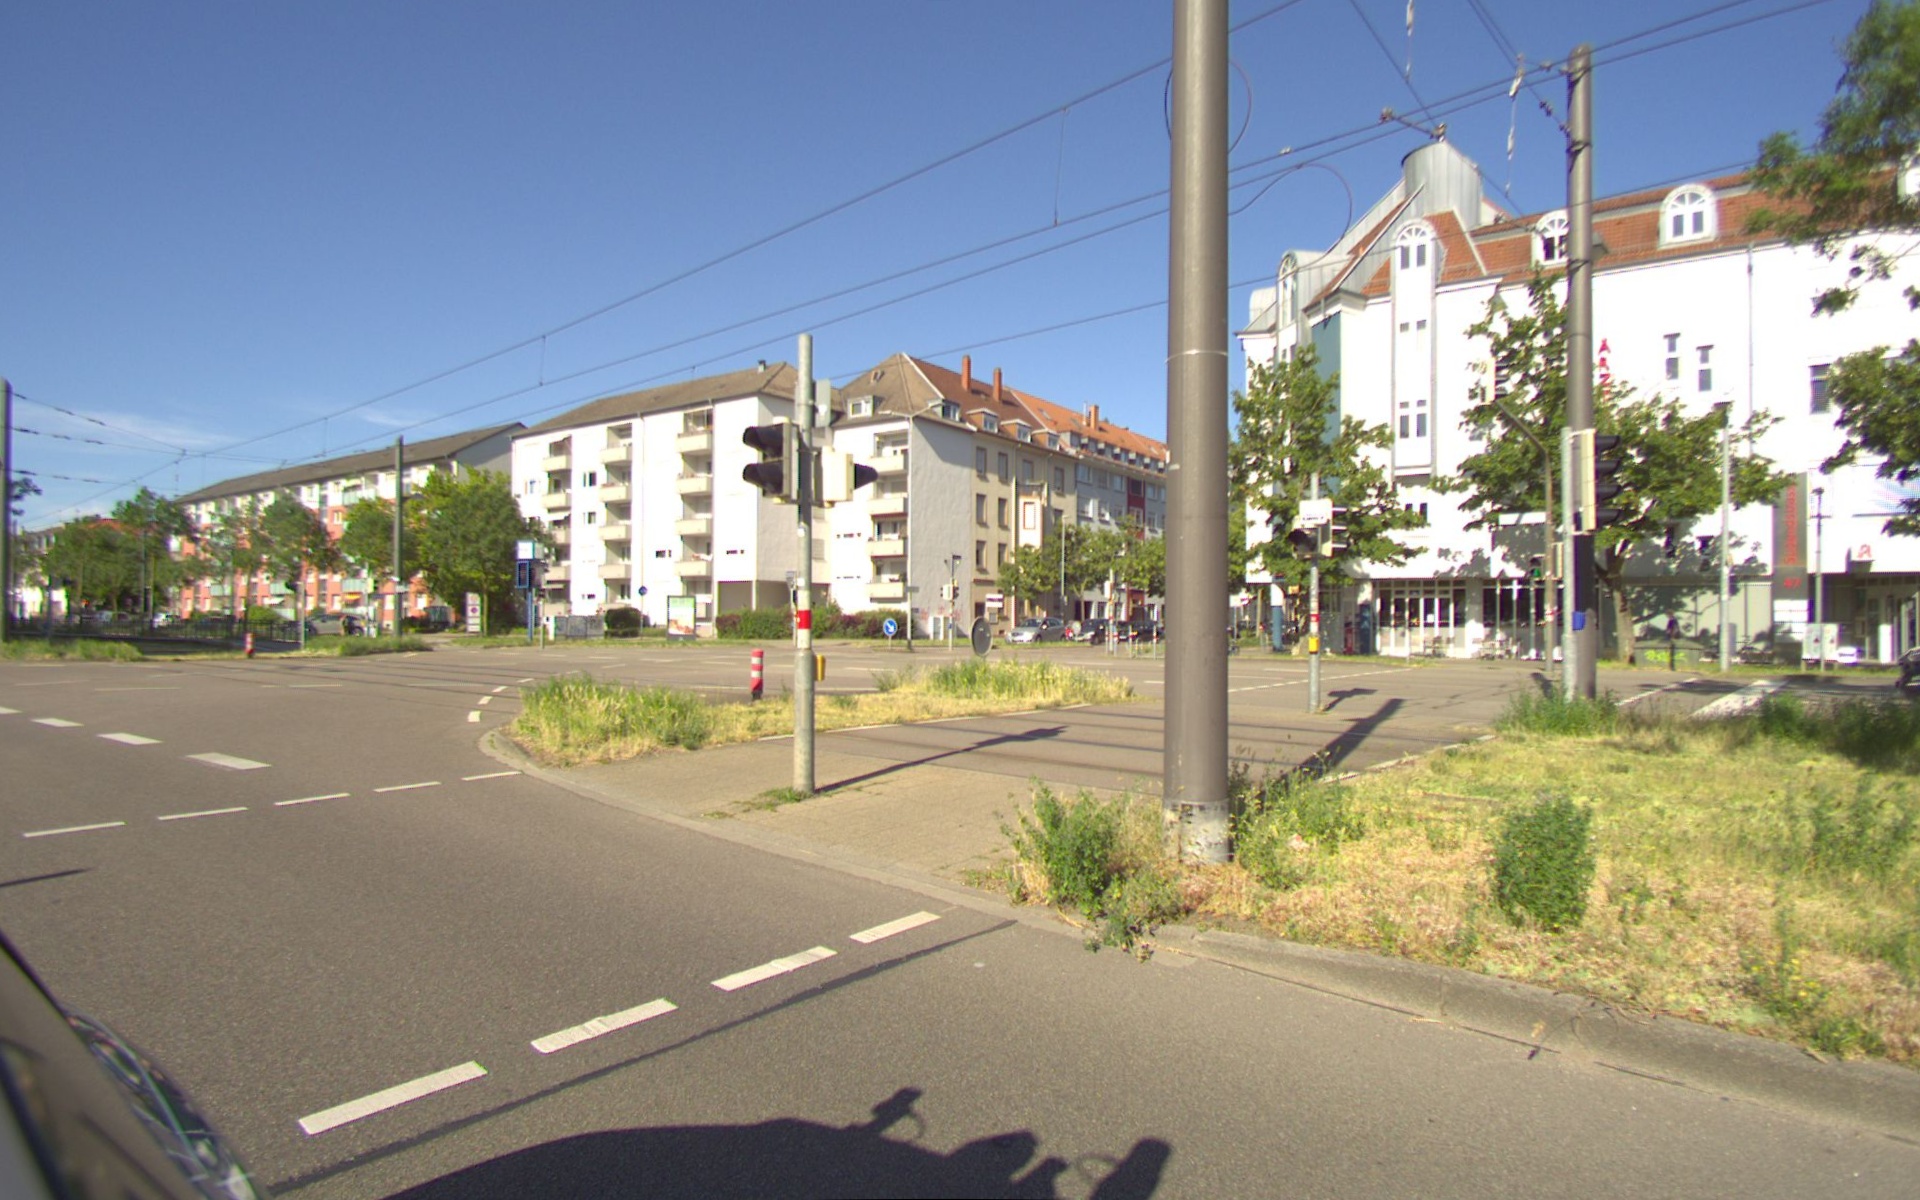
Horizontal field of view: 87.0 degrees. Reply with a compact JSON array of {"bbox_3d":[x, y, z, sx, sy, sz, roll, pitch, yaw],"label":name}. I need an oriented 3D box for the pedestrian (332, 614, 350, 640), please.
[{"bbox_3d":[-40.537,1.754,66.291,0.702,1.724,0.777,-1,-2,35],"label":"pedestrian"}]

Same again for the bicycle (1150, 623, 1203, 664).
[{"bbox_3d":[7.302,1.435,34.048,0.662,1.319,2.546,-1,-2,40],"label":"bicycle"}]

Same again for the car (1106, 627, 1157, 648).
[{"bbox_3d":[10.814,2.330,63.604,1.699,1.320,4.041,-1,-2,34],"label":"car"}]

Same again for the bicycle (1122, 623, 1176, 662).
[{"bbox_3d":[6.506,1.439,34.742,0.662,1.319,2.546,-1,-2,40],"label":"bicycle"}]

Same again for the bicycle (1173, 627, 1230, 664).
[{"bbox_3d":[7.982,1.487,33.367,0.783,1.168,2.546,-1,-2,40],"label":"bicycle"}]

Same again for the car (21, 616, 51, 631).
[{"bbox_3d":[-105.864,2.703,115.933,4.395,1.723,1.673,-1,-2,36],"label":"car"}]

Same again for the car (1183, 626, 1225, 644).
[{"bbox_3d":[17.938,2.545,74.207,1.699,1.320,4.041,-1,-2,34],"label":"car"}]

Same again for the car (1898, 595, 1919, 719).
[{"bbox_3d":[14.974,0.744,12.806,4.488,1.653,1.800,-1,-2,42],"label":"car"}]

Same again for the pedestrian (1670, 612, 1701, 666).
[{"bbox_3d":[23.317,1.246,32.545,0.778,1.704,0.793,-1,-2,36],"label":"pedestrian"}]

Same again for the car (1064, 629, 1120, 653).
[{"bbox_3d":[7.809,2.378,59.571,1.699,1.320,4.041,-1,-2,34],"label":"car"}]

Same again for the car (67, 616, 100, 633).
[{"bbox_3d":[-91.802,2.566,106.009,4.232,1.723,1.673,-1,-2,36],"label":"car"}]

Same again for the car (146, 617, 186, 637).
[{"bbox_3d":[-71.349,2.411,90.906,4.232,1.723,1.673,-1,-2,36],"label":"car"}]

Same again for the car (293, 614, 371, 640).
[{"bbox_3d":[-41.474,1.789,66.971,4.167,1.723,1.699,1,-2,-23],"label":"car"}]

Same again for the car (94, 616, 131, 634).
[{"bbox_3d":[-83.703,2.484,99.906,4.232,1.723,1.811,-1,-2,36],"label":"car"}]

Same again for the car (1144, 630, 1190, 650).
[{"bbox_3d":[14.075,2.676,68.662,1.699,1.320,4.041,-1,-2,34],"label":"car"}]

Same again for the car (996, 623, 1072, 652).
[{"bbox_3d":[4.019,1.979,54.347,2.328,1.476,4.140,-1,-2,34],"label":"car"}]

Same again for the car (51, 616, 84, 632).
[{"bbox_3d":[-96.102,2.618,108.925,4.395,1.723,1.673,-1,-2,36],"label":"car"}]

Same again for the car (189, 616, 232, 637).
[{"bbox_3d":[-62.876,2.191,84.887,4.232,1.723,1.673,-1,-2,36],"label":"car"}]
